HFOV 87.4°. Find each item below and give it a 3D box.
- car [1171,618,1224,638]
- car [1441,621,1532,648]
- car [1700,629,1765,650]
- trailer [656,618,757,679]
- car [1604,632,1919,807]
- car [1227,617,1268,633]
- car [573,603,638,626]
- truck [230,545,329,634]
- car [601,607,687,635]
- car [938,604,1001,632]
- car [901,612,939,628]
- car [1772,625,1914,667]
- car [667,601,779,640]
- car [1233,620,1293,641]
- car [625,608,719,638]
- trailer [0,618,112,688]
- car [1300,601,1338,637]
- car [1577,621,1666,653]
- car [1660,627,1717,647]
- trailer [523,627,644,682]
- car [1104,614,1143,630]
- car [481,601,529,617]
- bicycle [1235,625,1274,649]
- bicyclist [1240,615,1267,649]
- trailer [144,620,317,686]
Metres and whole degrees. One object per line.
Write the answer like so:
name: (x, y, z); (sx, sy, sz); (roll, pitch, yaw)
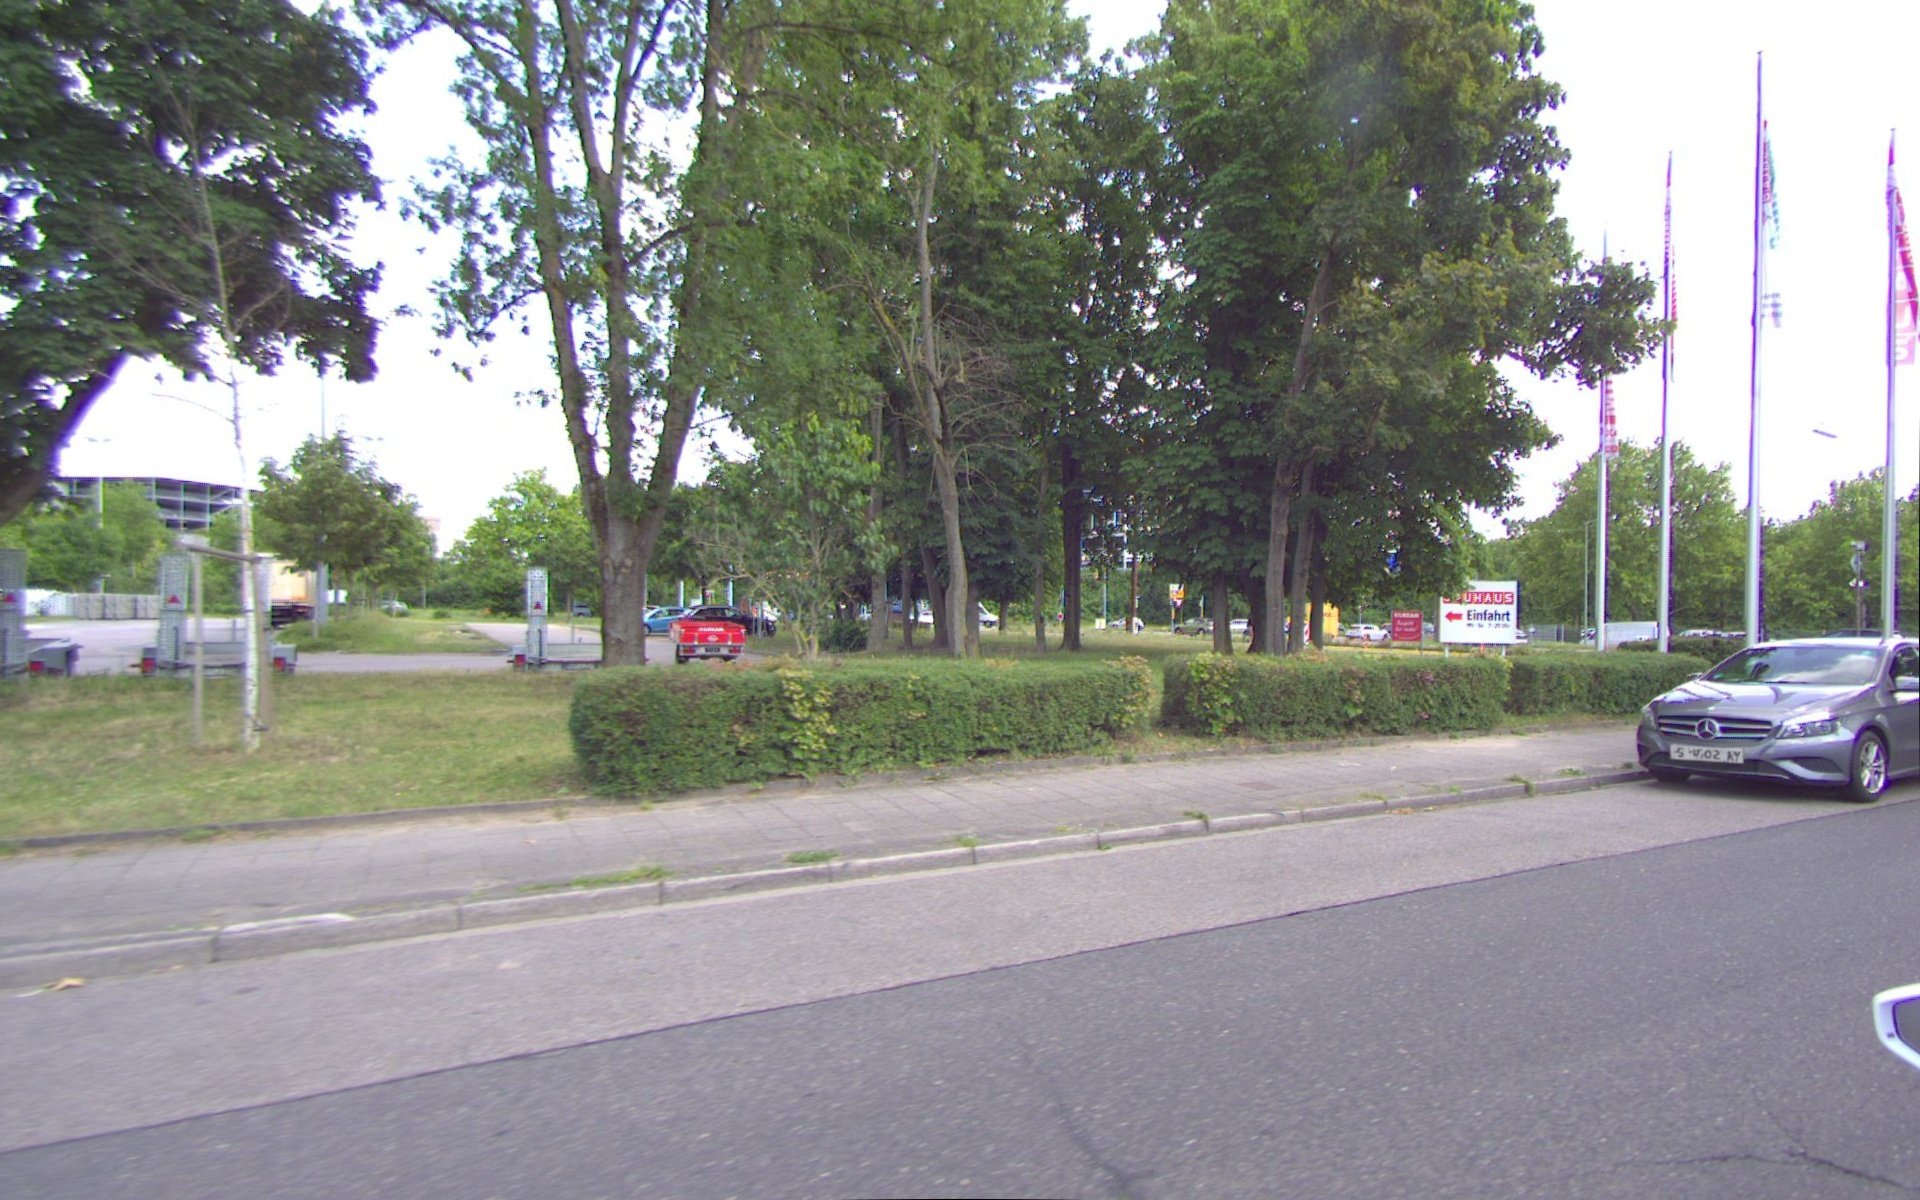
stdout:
car: (18.204, 2.155, 77.092); (1.776, 1.424, 3.998); (1, -1, -30)
car: (29.728, 1.923, 56.835); (1.901, 1.424, 4.200); (1, -1, -30)
car: (68.568, 3.478, 89.170); (4.213, 1.744, 1.921); (1, 0, 5)
trailer: (-5.757, 1.025, 22.512); (1.690, 1.206, 3.809); (1, 0, -22)
car: (8.600, 1.066, 10.049); (4.275, 1.438, 1.704); (1, -3, -27)
car: (30.025, 2.614, 104.901); (3.831, 1.523, 1.875); (1, 0, 5)
car: (-36.074, 1.475, 102.358); (5.790, 2.104, 2.213); (1, 0, 6)
truck: (-34.007, -0.480, 50.530); (2.950, 4.001, 8.291); (3, -1, -27)
car: (-17.914, 1.193, 56.888); (4.357, 1.431, 1.985); (2, -1, -29)
car: (0.952, 1.734, 95.445); (5.790, 2.475, 2.213); (1, 0, 6)
car: (-4.246, 2.104, 106.618); (3.831, 1.523, 1.875); (1, 0, 5)
car: (37.680, 1.914, 42.956); (1.901, 1.600, 4.200); (1, -1, -30)
car: (-9.926, 0.869, 42.151); (4.304, 1.531, 1.561); (2, -1, -29)
car: (21.636, 2.182, 71.925); (1.776, 1.424, 3.998); (1, -1, -30)
car: (-14.883, 1.177, 51.920); (4.357, 1.431, 1.985); (2, -1, -29)
trailer: (-15.934, 0.819, 16.613); (2.134, 0.925, 4.214); (3, -1, -30)
car: (27.101, 1.464, 75.967); (2.161, 2.612, 6.408); (1, -1, 15)
car: (48.509, 2.698, 73.762); (1.777, 2.240, 5.259); (2, -1, -31)
car: (69.064, 3.486, 95.221); (3.919, 1.684, 1.921); (1, 0, 5)
trailer: (-7.986, 1.081, 21.159); (2.156, 0.925, 4.584); (1, 0, -23)
car: (17.203, 2.323, 105.930); (3.831, 1.523, 1.875); (1, 0, 5)
car: (-45.366, 0.874, 100.253); (3.919, 1.532, 1.921); (1, 0, 5)
bicycle: (14.435, 1.804, 49.302); (0.722, 1.181, 1.799); (0, -1, -32)
bicyclist: (14.417, 1.560, 49.347); (0.726, 1.670, 1.001); (0, -1, -33)
trailer: (-12.940, 0.911, 18.097); (1.999, 0.925, 4.214); (3, -1, -30)
